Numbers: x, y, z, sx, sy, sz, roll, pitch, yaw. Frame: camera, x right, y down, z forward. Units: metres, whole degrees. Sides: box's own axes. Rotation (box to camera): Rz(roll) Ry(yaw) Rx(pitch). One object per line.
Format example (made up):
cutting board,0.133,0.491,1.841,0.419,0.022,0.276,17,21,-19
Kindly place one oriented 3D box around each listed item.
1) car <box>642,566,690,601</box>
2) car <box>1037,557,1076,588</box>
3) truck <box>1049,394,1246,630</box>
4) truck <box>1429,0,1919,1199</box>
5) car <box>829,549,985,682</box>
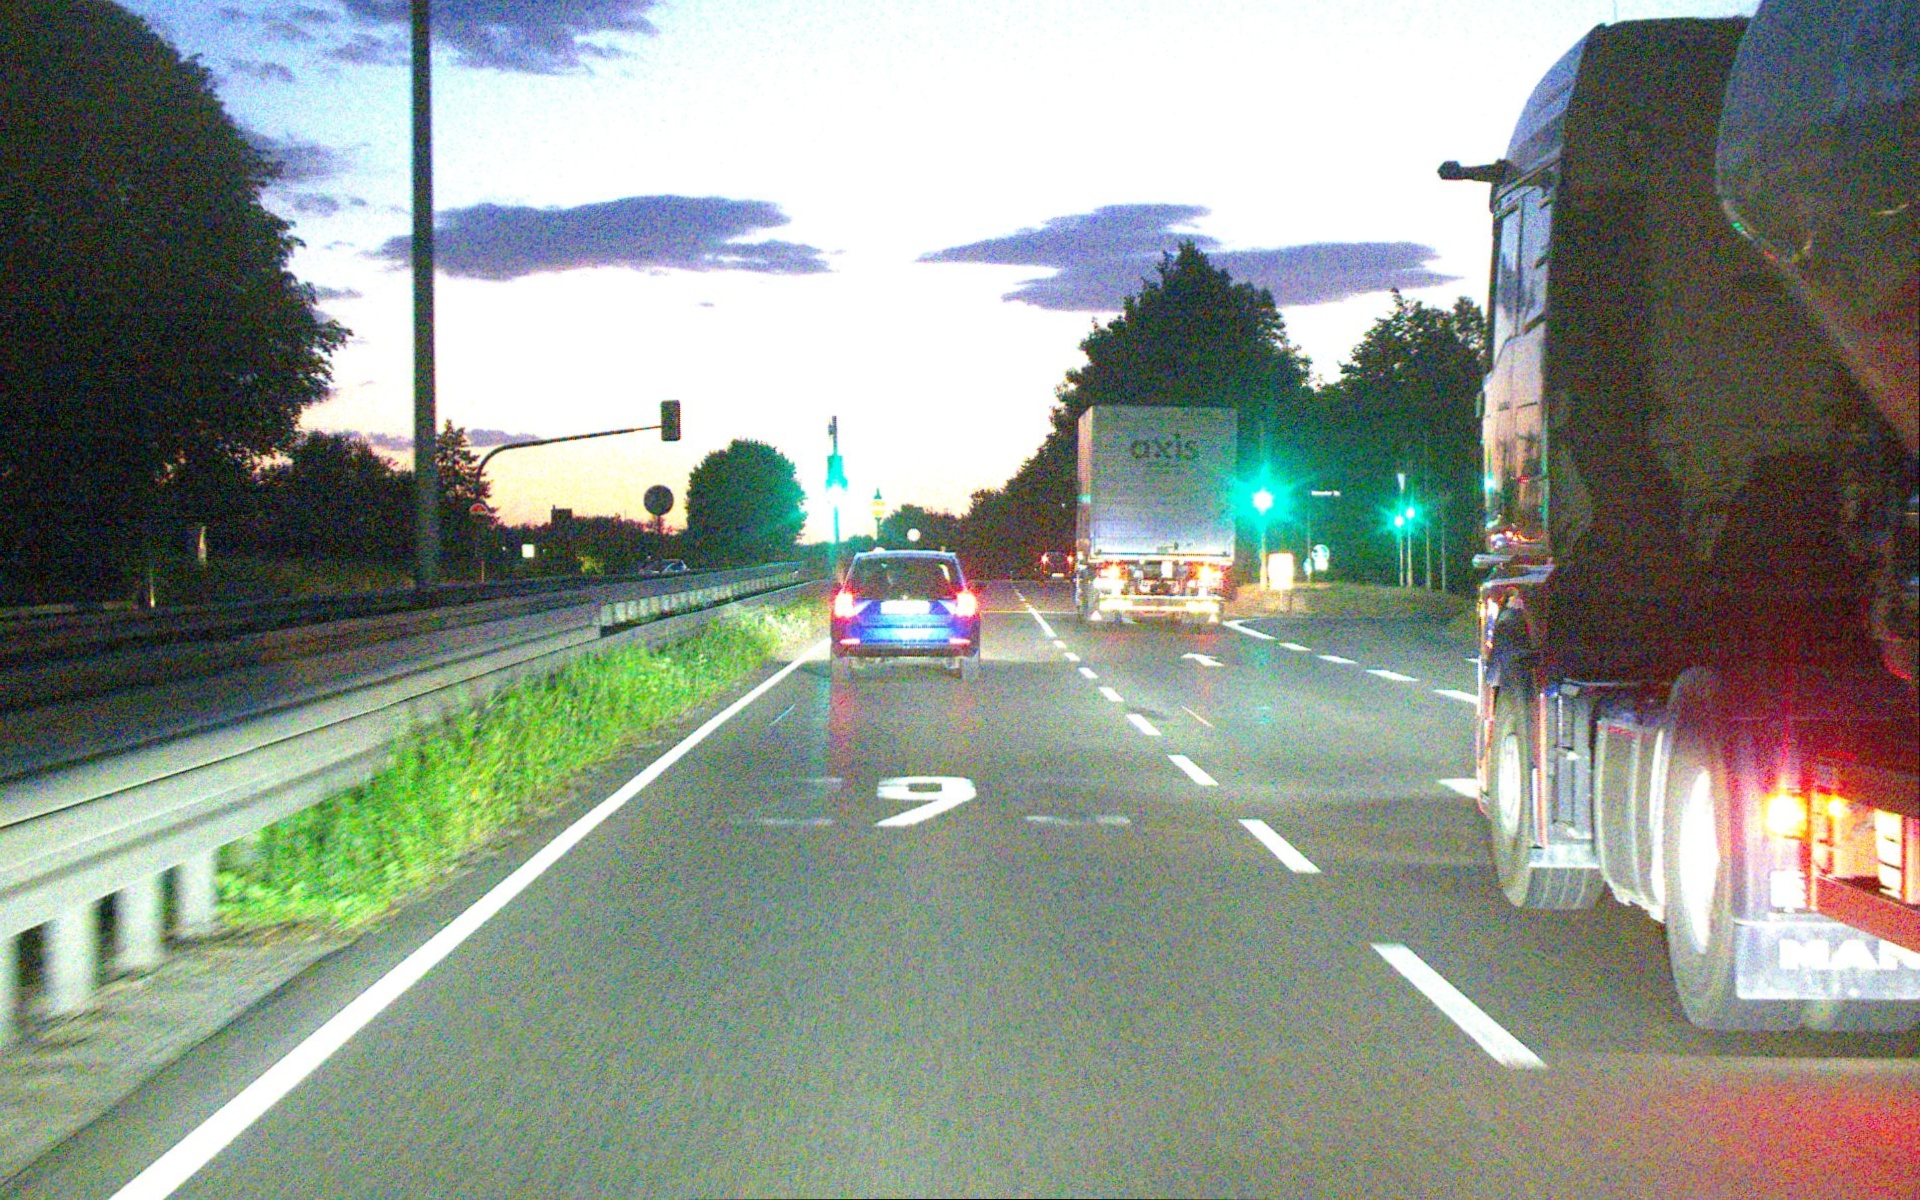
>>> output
car,-12.052,-0.683,141.095,1.605,1.325,3.940,-2,1,-1
car,4.607,-1.332,165.366,1.695,1.447,3.914,0,1,-1
truck,3.438,-1.626,66.363,2.883,4.092,12.684,0,1,-1
truck,3.549,-0.659,9.309,2.687,4.092,13.142,1,1,0
car,-0.610,0.147,39.706,1.695,1.447,3.914,0,1,-1
